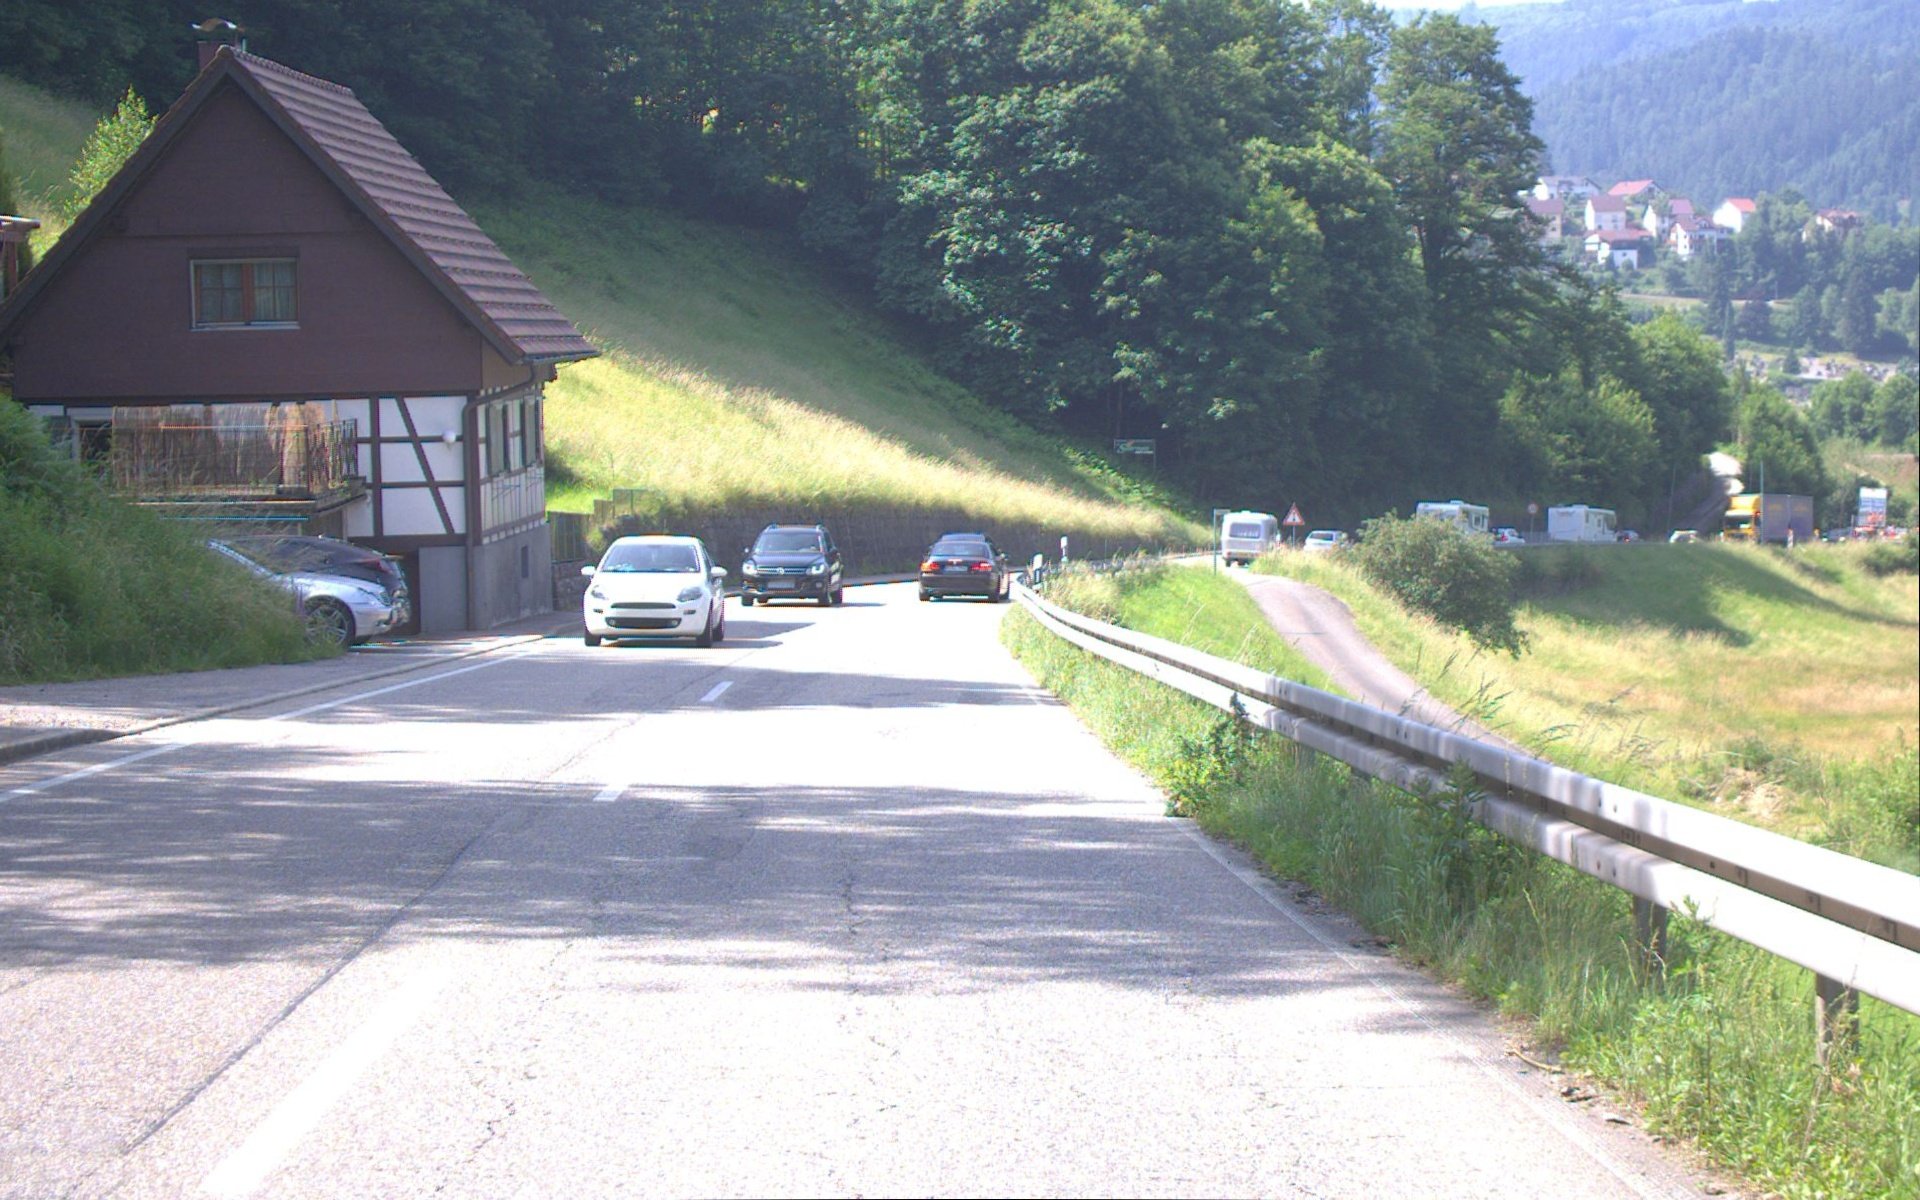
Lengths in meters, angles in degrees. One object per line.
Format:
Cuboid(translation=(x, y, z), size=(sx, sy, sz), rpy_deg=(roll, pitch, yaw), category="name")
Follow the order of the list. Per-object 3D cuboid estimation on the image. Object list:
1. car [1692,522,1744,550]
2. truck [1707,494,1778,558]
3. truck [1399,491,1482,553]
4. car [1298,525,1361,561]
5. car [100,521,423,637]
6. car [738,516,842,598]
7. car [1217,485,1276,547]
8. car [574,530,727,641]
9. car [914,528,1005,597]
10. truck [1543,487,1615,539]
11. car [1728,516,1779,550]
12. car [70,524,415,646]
Cuboid(translation=(48.472, -4.062, 219.793), size=(1.910, 1.481, 3.993), rpy_deg=(7, 3, 31), category="car")
Cuboid(translation=(56.281, -5.353, 247.182), size=(3.193, 4.381, 6.562), rpy_deg=(4, 3, 28), category="truck")
Cuboid(translation=(25.200, -4.122, 179.958), size=(2.794, 2.987, 6.862), rpy_deg=(4, 3, 20), category="truck")
Cuboid(translation=(17.265, -2.673, 160.497), size=(1.996, 1.479, 3.996), rpy_deg=(4, 3, 19), category="car")
Cuboid(translation=(-9.144, -0.296, 45.201), size=(3.816, 1.428, 1.864), rpy_deg=(0, 2, 3), category="car")
Cuboid(translation=(-3.489, -0.894, 71.157), size=(1.889, 1.639, 4.258), rpy_deg=(0, 1, 1), category="car")
Cuboid(translation=(11.708, -3.436, 140.412), size=(1.994, 2.344, 4.913), rpy_deg=(2, 3, 9), category="car")
Cuboid(translation=(-4.158, -0.207, 46.707), size=(1.777, 1.432, 4.000), rpy_deg=(0, 0, -1), category="car")
Cuboid(translation=(0.012, -0.849, 75.969), size=(1.771, 1.331, 3.767), rpy_deg=(2, 3, 3), category="car")
Cuboid(translation=(35.943, -5.050, 199.512), size=(2.241, 2.794, 6.222), rpy_deg=(3, 1, 28), category="truck")
Cuboid(translation=(52.582, -4.431, 227.845), size=(1.997, 1.919, 3.992), rpy_deg=(6, 1, 31), category="car")
Cuboid(translation=(-8.792, -0.203, 42.311), size=(3.816, 1.412, 1.857), rpy_deg=(0, 2, 3), category="car")
